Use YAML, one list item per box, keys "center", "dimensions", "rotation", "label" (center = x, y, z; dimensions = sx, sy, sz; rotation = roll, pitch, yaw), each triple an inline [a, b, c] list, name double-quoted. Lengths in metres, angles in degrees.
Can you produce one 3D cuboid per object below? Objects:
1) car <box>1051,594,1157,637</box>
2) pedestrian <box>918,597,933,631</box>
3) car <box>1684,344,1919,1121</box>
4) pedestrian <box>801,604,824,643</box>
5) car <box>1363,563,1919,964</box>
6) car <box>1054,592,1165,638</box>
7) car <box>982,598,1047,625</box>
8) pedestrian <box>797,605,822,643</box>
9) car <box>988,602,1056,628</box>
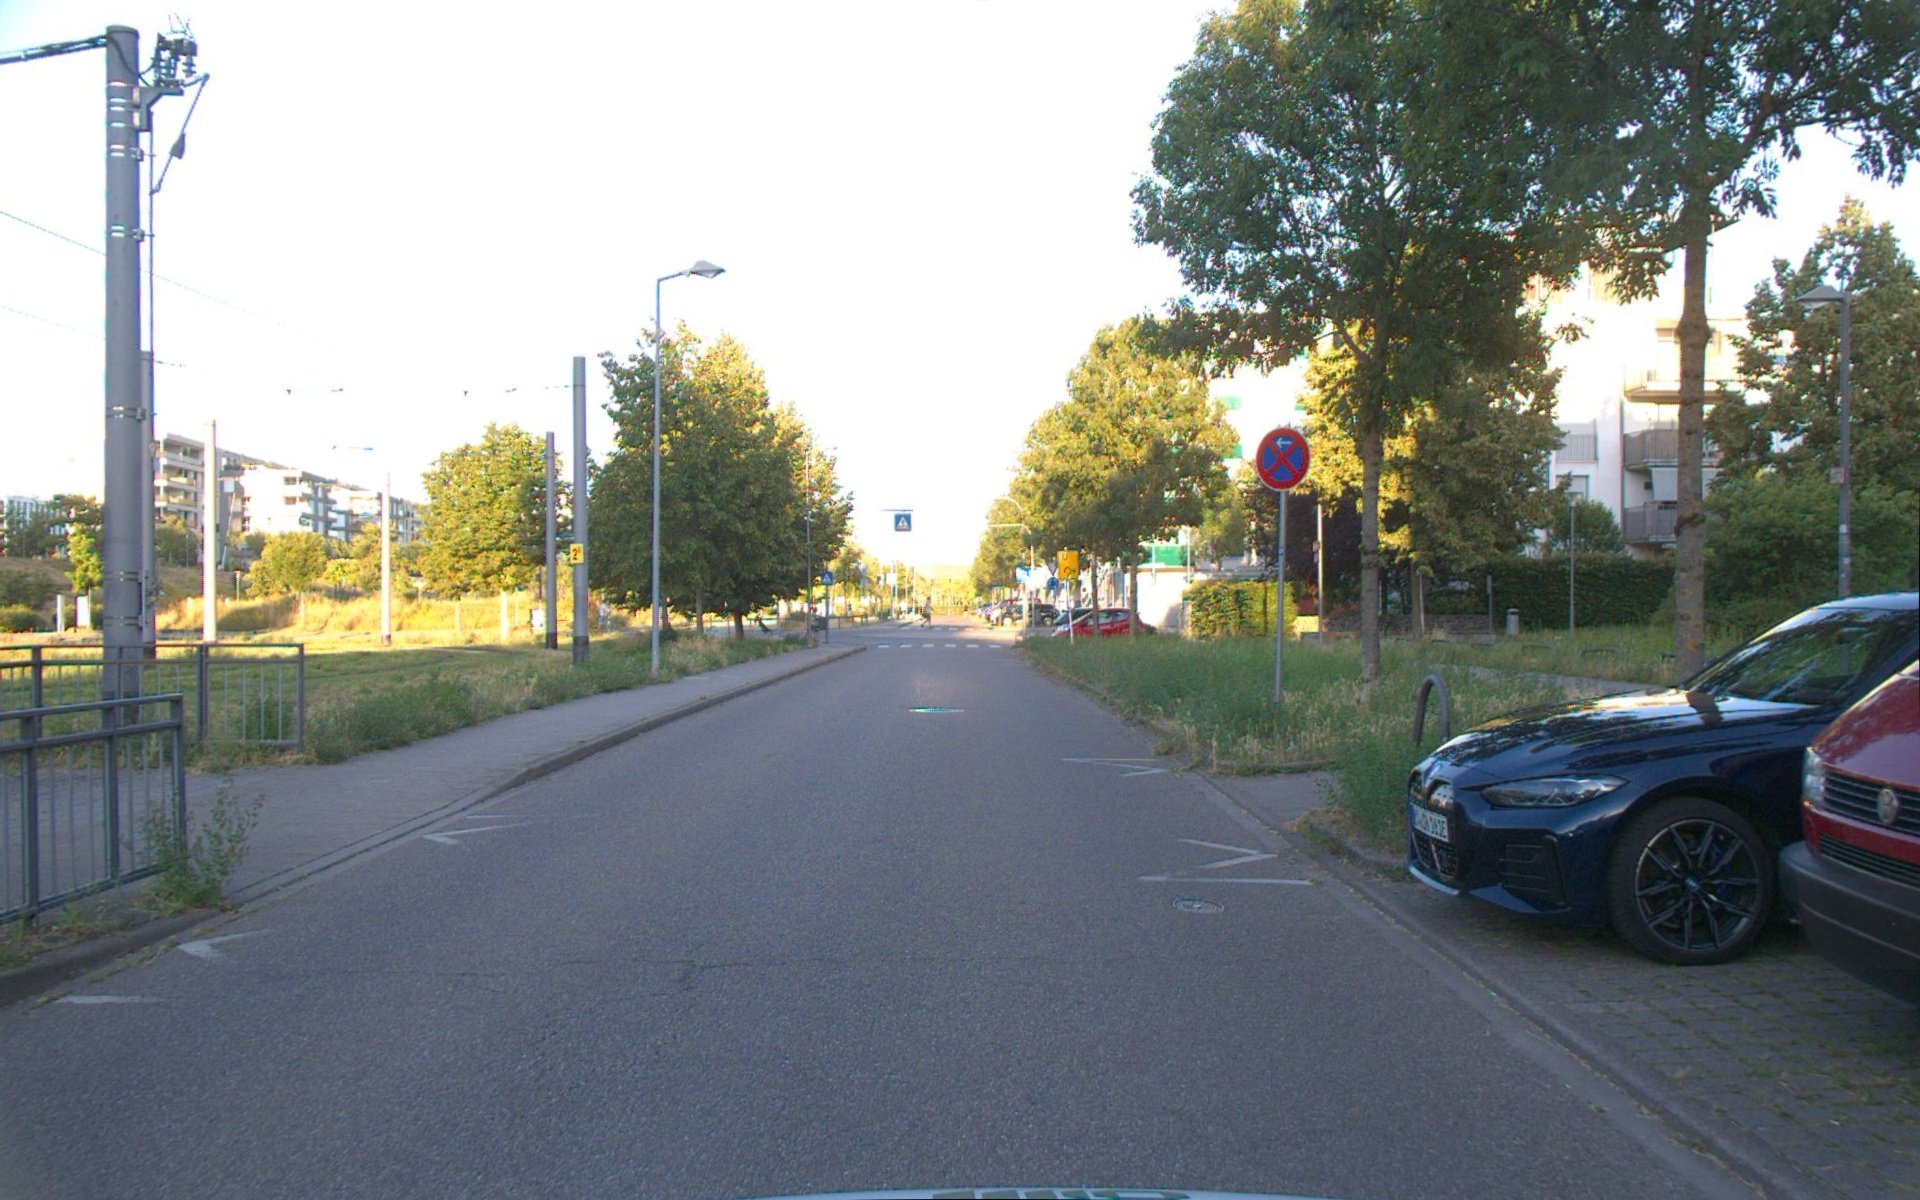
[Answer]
- center: [5.331, 0.563, 61.403]
  dimensions: [3.726, 1.535, 1.678]
  rotation: [-1, 0, -2]
  label: "car"
- center: [-2.112, 0.877, 100.894]
  dimensions: [0.828, 2.049, 0.944]
  rotation: [-1, -1, 5]
  label: "pedestrian"
- center: [5.079, 0.349, 5.085]
  dimensions: [4.818, 2.154, 2.017]
  rotation: [-1, 0, 1]
  label: "car"
- center: [-6.743, 1.070, 75.441]
  dimensions: [0.966, 1.723, 0.698]
  rotation: [-1, -1, -12]
  label: "pedestrian"
- center: [4.338, 0.641, 7.513]
  dimensions: [4.573, 1.584, 1.811]
  rotation: [-1, 0, 0]
  label: "car"
- center: [5.265, 0.531, 58.615]
  dimensions: [3.726, 1.535, 1.678]
  rotation: [-1, 0, -2]
  label: "car"
- center: [4.331, 0.910, 132.212]
  dimensions: [4.905, 2.081, 2.248]
  rotation: [-1, 0, -5]
  label: "car"
- center: [-6.792, 1.073, 74.615]
  dimensions: [1.000, 1.723, 0.757]
  rotation: [-1, -1, -11]
  label: "pedestrian"
- center: [4.058, 0.997, 108.855]
  dimensions: [4.392, 1.624, 2.000]
  rotation: [-1, 0, 1]
  label: "car"
